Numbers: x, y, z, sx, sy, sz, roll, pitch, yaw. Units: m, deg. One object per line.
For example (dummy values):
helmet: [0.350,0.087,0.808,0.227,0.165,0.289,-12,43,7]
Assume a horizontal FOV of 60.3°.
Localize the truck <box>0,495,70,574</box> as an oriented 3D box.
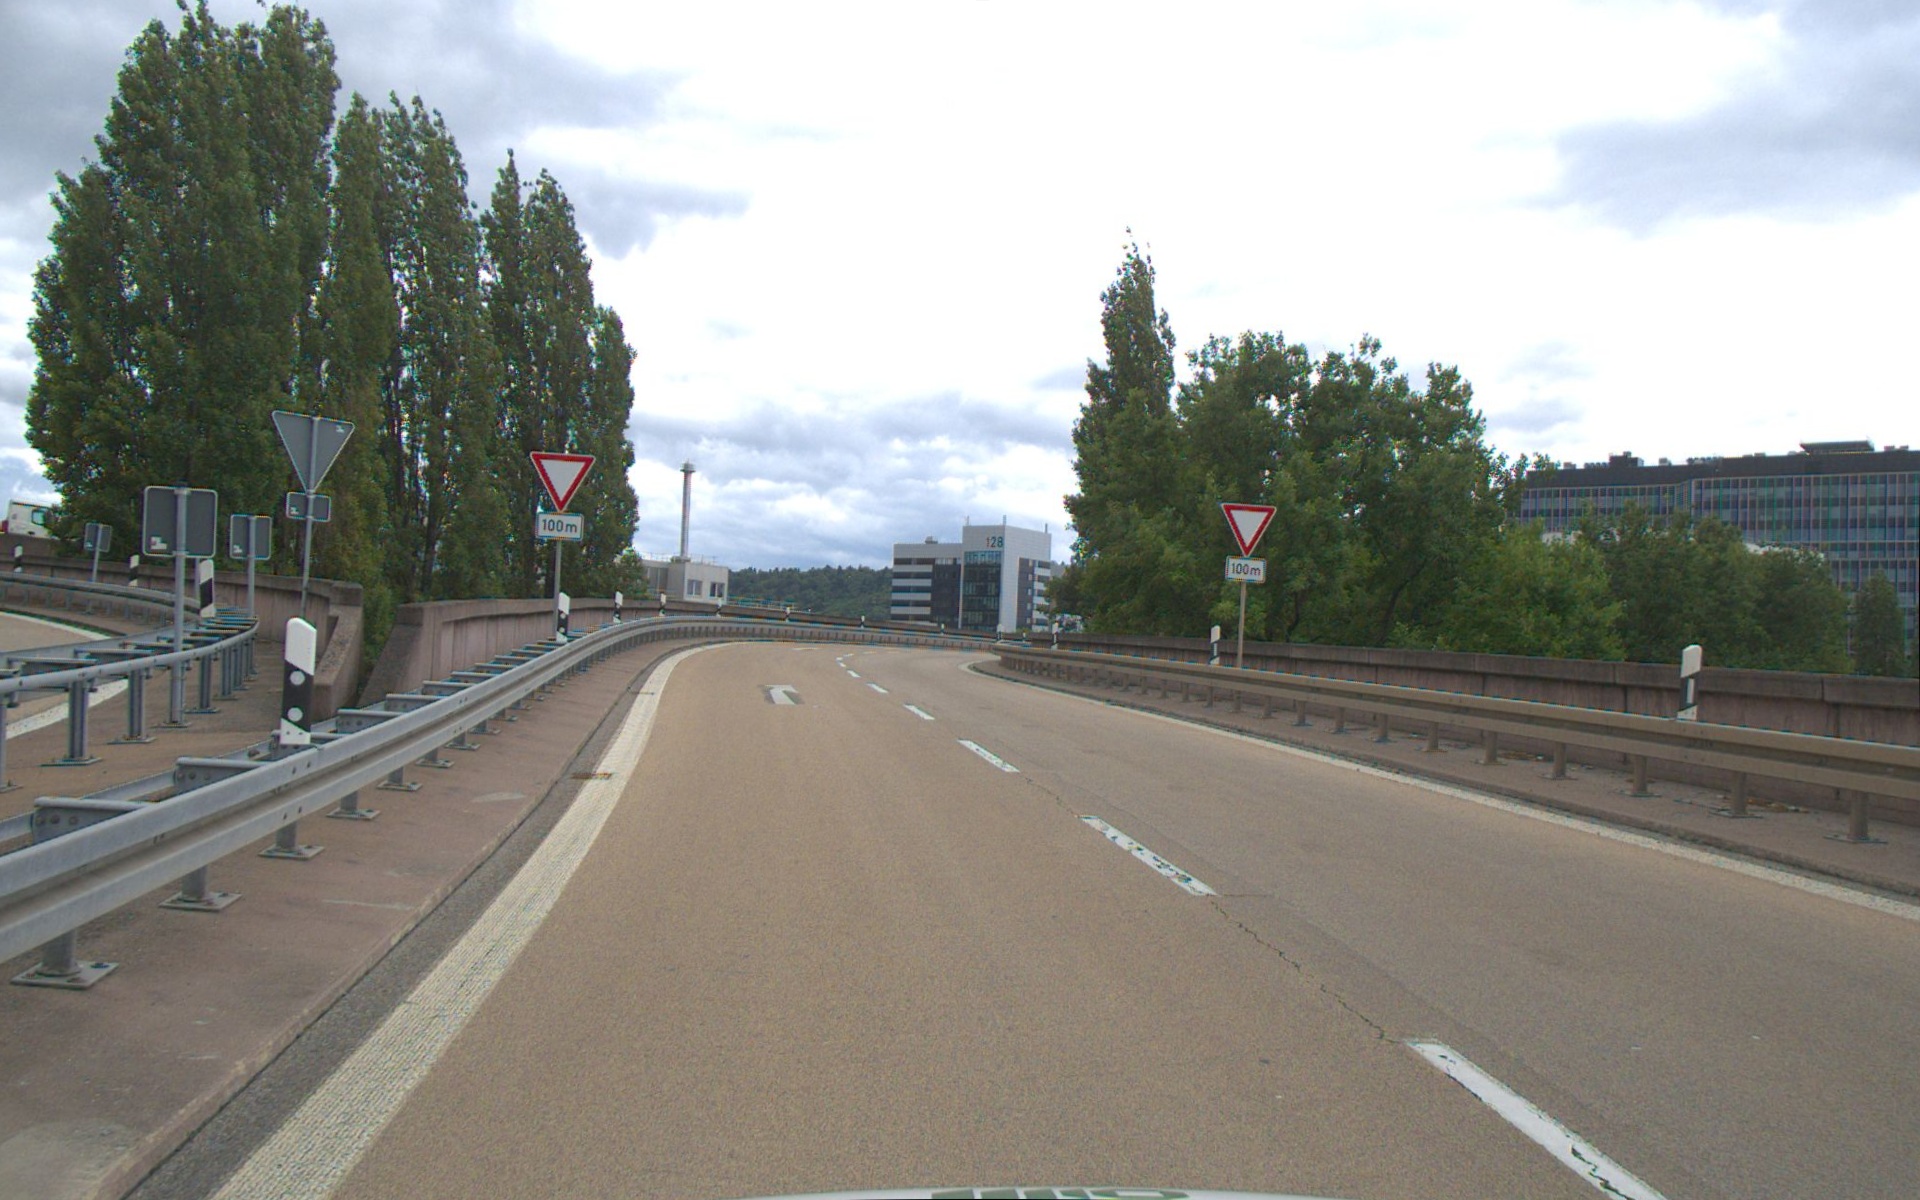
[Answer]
truck: [-47.019,-3.296,80.655,5.894,3.491,2.745,5,-4,-35]
